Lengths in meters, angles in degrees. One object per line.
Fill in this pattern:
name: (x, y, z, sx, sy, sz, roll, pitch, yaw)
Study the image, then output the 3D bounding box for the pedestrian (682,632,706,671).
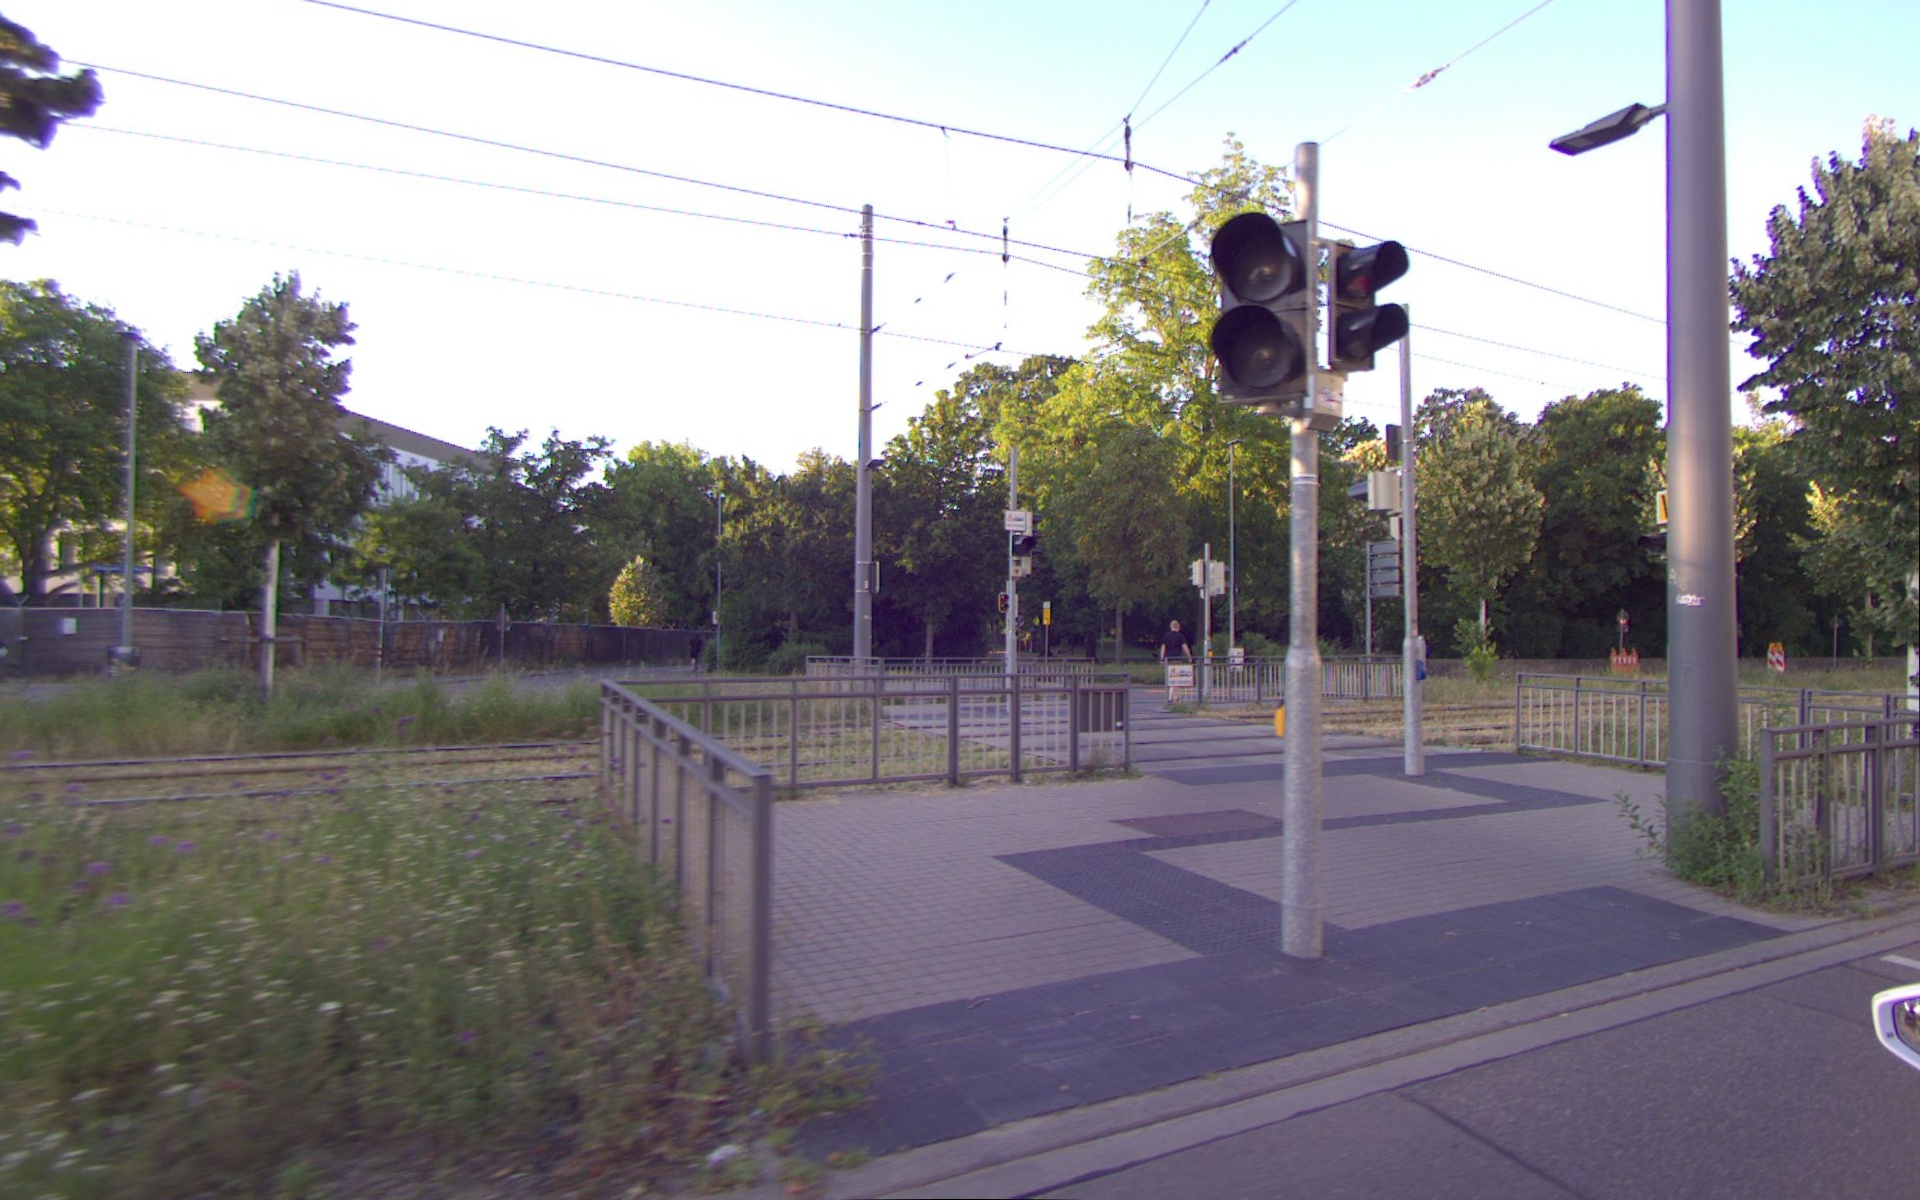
pedestrian: (-13.341, 2.569, 50.441, 0.916, 1.911, 1.038, 1, 0, -3)

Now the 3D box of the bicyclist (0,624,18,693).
bicyclist: (-23.584, 1.421, 24.347, 0.704, 1.642, 0.942, 1, 0, 31)

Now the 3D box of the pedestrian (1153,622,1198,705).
pedestrian: (4.441, 1.293, 20.675, 0.666, 1.629, 0.670, -2, 2, 31)

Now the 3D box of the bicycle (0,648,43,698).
bicycle: (-23.592, 1.783, 24.347, 0.704, 1.148, 1.894, 1, 0, 31)
